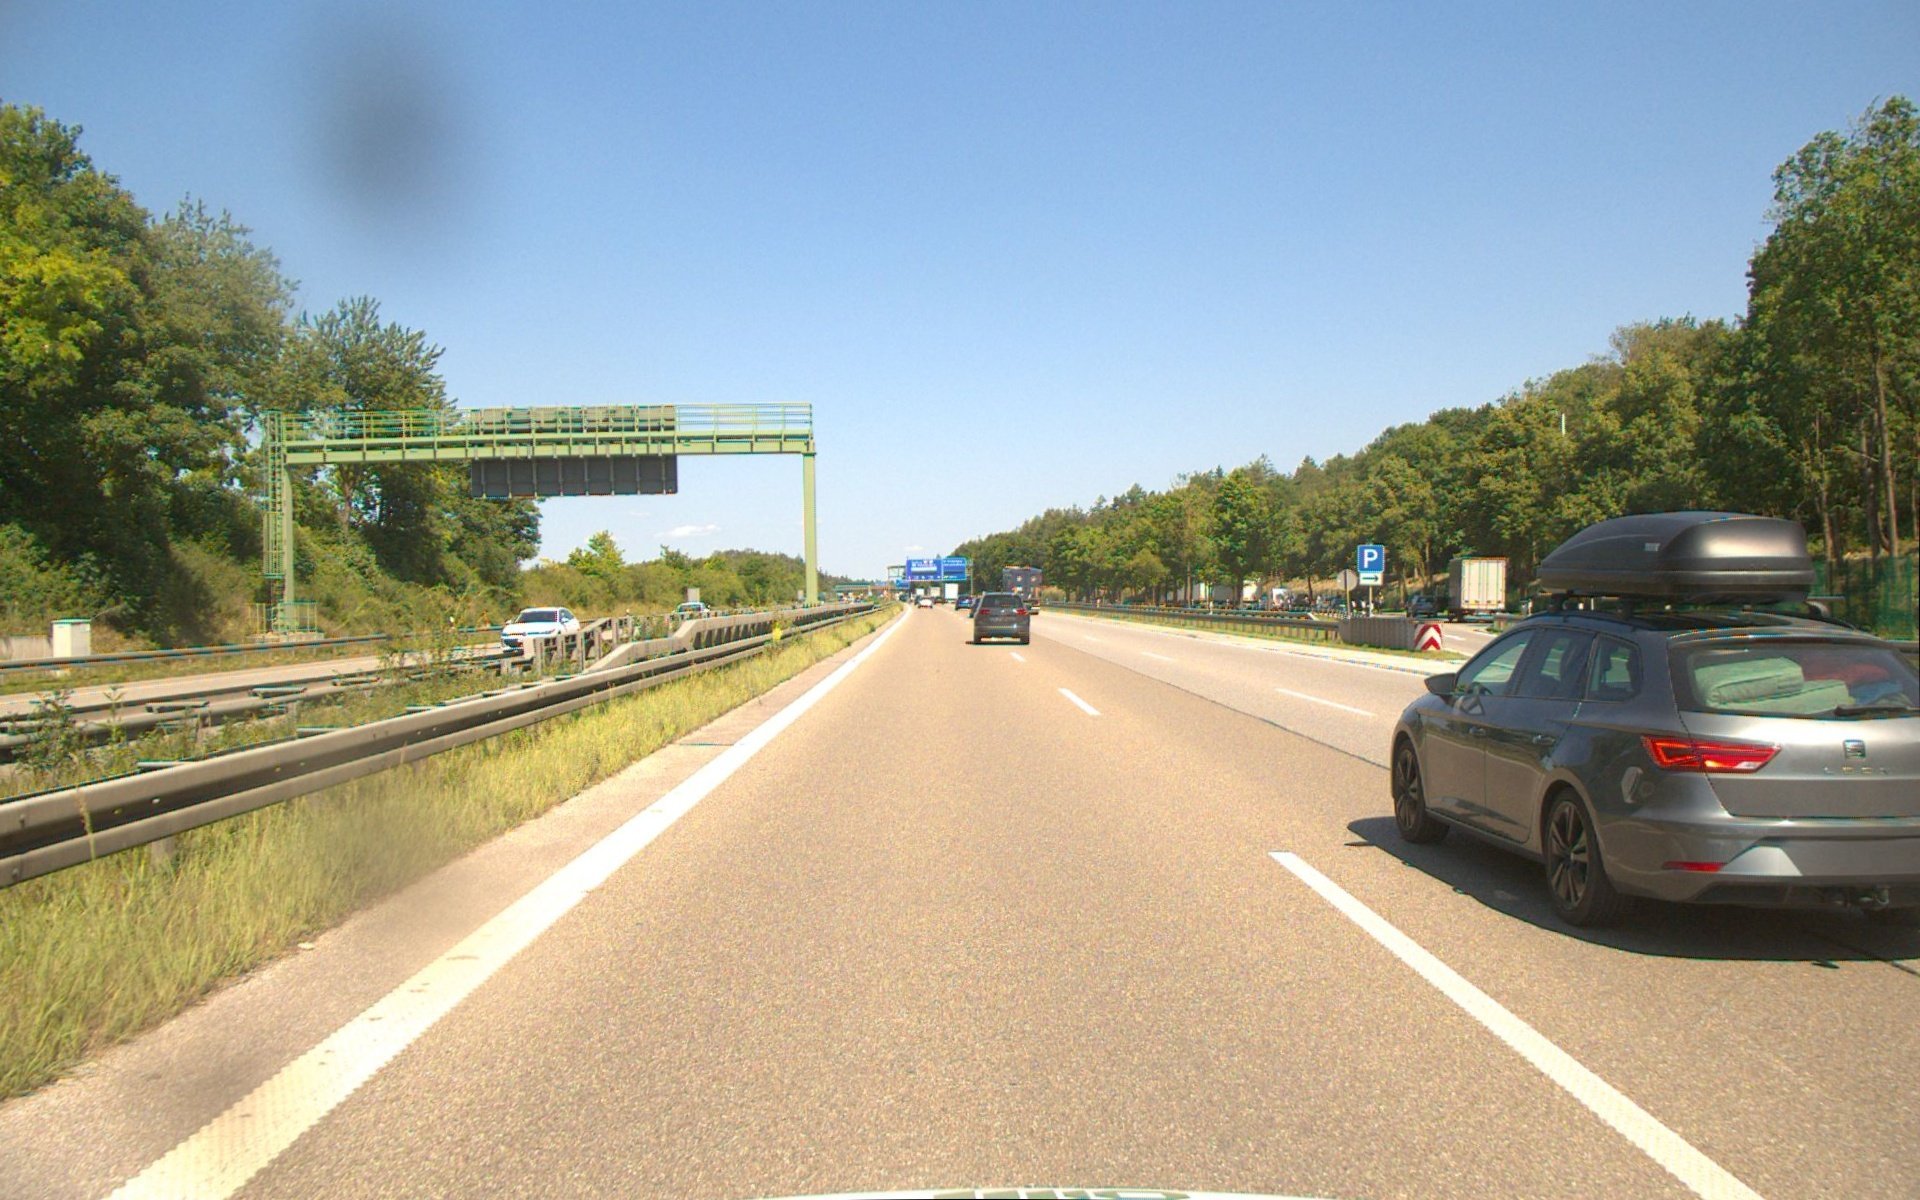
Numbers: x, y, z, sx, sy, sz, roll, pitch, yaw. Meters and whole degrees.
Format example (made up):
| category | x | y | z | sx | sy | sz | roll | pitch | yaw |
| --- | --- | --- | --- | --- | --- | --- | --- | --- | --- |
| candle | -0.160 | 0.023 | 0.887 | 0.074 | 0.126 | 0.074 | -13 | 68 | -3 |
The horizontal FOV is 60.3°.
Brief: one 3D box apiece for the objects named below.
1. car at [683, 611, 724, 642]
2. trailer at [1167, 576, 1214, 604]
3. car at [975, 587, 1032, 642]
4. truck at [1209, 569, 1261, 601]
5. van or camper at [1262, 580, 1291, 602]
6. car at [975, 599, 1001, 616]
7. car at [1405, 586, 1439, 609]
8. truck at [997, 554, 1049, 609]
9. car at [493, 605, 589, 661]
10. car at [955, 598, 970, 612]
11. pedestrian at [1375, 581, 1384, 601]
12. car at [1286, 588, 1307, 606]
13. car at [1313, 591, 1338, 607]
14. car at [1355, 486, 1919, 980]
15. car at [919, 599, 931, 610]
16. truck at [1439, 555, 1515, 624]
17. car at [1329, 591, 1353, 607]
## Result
| category | x | y | z | sx | sy | sz | roll | pitch | yaw |
| --- | --- | --- | --- | --- | --- | --- | --- | --- | --- |
| car | -13.852 | 1.412 | 89.486 | 1.632 | 1.489 | 3.881 | -3 | 0 | -1 |
| trailer | 32.865 | -1.392 | 236.199 | 2.804 | 3.863 | 14.162 | 0 | 0 | -8 |
| car | 1.413 | 0.440 | 53.653 | 1.762 | 1.698 | 4.259 | 1 | 0 | 2 |
| truck | 35.702 | -1.930 | 215.403 | 2.938 | 4.000 | 14.442 | 0 | 0 | -6 |
| van or camper | 37.210 | -1.004 | 194.417 | 2.159 | 2.575 | 5.874 | 0 | 0 | -1 |
| car | 1.964 | 0.495 | 117.119 | 1.674 | 1.176 | 3.688 | -1 | 0 | -1 |
| car | 35.420 | -0.181 | 126.880 | 1.951 | 1.680 | 4.322 | -1 | 0 | 8 |
| truck | 5.304 | -1.538 | 141.539 | 3.703 | 4.499 | 14.047 | 0 | 0 | -1 |
| car | -13.823 | 1.056 | 54.851 | 1.840 | 1.638 | 5.309 | -2 | 0 | -1 |
| car | 0.279 | 0.492 | 175.474 | 1.441 | 1.422 | 3.409 | 2 | 0 | -1 |
| pedestrian | 38.723 | -0.825 | 152.777 | 0.781 | 1.813 | 0.643 | -1 | 0 | 12 |
| car | 36.966 | -0.312 | 181.879 | 1.621 | 1.910 | 4.802 | 0 | 0 | 3 |
| car | 37.930 | -0.110 | 171.756 | 1.622 | 1.705 | 4.651 | 0 | 0 | 0 |
| car | 3.580 | 0.495 | 8.926 | 1.631 | 1.909 | 4.826 | -2 | 0 | -1 |
| car | -4.285 | 0.564 | 201.852 | 1.441 | 1.249 | 3.409 | -1 | 0 | -1 |
| truck | 32.092 | -0.672 | 103.051 | 3.215 | 4.016 | 9.359 | -1 | 0 | 10 |
| car | 38.037 | -0.088 | 165.278 | 1.951 | 1.601 | 4.003 | -1 | 0 | 7 |
